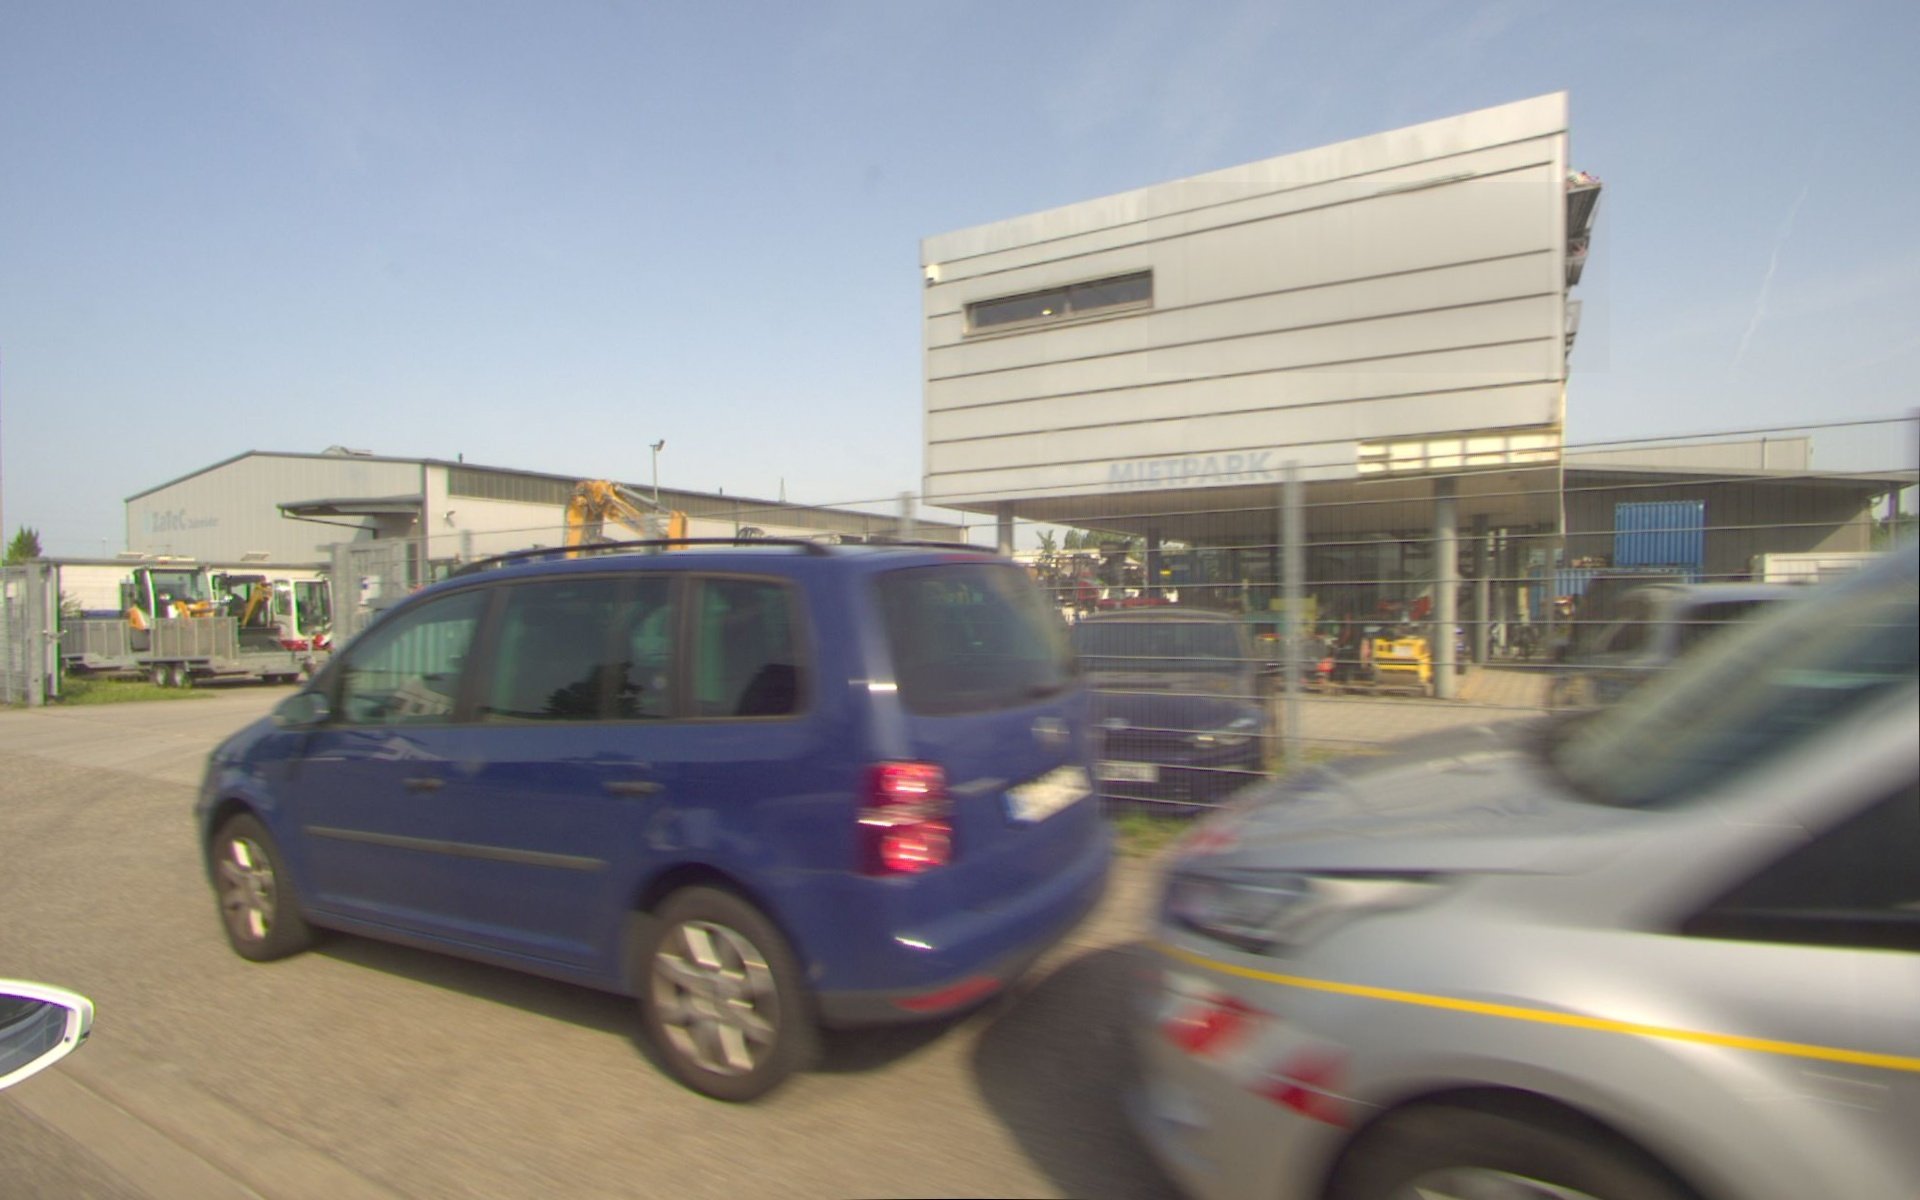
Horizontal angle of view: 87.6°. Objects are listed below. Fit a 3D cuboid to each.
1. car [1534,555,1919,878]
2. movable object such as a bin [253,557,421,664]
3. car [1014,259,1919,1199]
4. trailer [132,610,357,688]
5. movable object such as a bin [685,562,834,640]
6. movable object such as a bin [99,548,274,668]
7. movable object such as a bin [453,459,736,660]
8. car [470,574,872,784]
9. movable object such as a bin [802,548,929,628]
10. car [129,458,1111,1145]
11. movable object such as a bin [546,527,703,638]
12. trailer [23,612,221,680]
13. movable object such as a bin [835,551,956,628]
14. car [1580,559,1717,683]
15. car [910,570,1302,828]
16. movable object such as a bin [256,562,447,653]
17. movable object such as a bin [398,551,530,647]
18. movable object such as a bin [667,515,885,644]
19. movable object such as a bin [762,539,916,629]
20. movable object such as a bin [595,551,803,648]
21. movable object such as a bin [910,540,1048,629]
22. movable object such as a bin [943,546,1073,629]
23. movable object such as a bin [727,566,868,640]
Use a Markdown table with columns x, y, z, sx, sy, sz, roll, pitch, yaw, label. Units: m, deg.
| x | y | z | sx | sy | sz | roll | pitch | yaw | label |
| --- | --- | --- | --- | --- | --- | --- | --- | --- | --- |
| 4.769 | 0.504 | 6.185 | 1.761 | 1.389 | 3.987 | 0 | 0 | 25 | car |
| -15.911 | 0.238 | 25.509 | 4.700 | 2.491 | 1.986 | 0 | 1 | 36 | movable object such as a bin |
| 2.544 | 0.462 | 1.620 | 4.535 | 1.813 | 1.989 | -1 | -1 | 33 | car |
| -13.693 | 0.874 | 19.109 | 4.499 | 1.328 | 1.989 | -1 | -1 | 33 | trailer |
| -7.659 | 0.001 | 38.087 | 5.604 | 2.806 | 2.050 | 1 | 1 | 30 | movable object such as a bin |
| -19.683 | 0.192 | 25.410 | 5.086 | 2.789 | 1.882 | 0 | 1 | 32 | movable object such as a bin |
| -10.159 | -1.016 | 27.645 | 7.557 | 4.871 | 3.311 | 1 | 1 | 30 | movable object such as a bin |
| -2.780 | 0.677 | 10.707 | 1.868 | 1.760 | 4.225 | 0 | 0 | 24 | car |
| -4.803 | -0.569 | 50.620 | 6.047 | 3.832 | 2.448 | 0 | 1 | 28 | movable object such as a bin |
| -1.634 | 0.551 | 4.407 | 4.186 | 1.743 | 1.823 | -1 | 0 | 31 | car |
| -12.718 | -0.612 | 37.907 | 5.636 | 3.925 | 2.678 | 0 | 1 | 32 | movable object such as a bin |
| -17.932 | 0.916 | 21.404 | 4.230 | 1.260 | 1.941 | 0 | 0 | 30 | trailer |
| -3.479 | -0.531 | 53.713 | 6.047 | 3.982 | 2.448 | 0 | 1 | 28 | movable object such as a bin |
| 12.709 | 0.353 | 18.686 | 1.868 | 2.028 | 4.347 | 1 | 0 | 32 | car |
| 1.469 | 0.572 | 8.186 | 1.869 | 1.515 | 4.221 | 1 | 0 | 28 | car |
| -18.440 | 0.211 | 30.314 | 5.262 | 2.525 | 2.916 | 0 | 1 | 32 | movable object such as a bin |
| -16.849 | -0.028 | 33.955 | 4.427 | 3.072 | 1.988 | 0 | 1 | 32 | movable object such as a bin |
| -6.293 | -0.671 | 33.912 | 7.099 | 3.982 | 2.913 | 1 | 1 | 30 | movable object such as a bin |
| -5.777 | -0.706 | 47.462 | 7.090 | 3.982 | 2.463 | 0 | 1 | 28 | movable object such as a bin |
| -8.195 | -0.056 | 31.304 | 6.253 | 2.753 | 2.696 | 1 | 1 | 30 | movable object such as a bin |
| 0.902 | -0.689 | 47.247 | 5.929 | 3.982 | 2.715 | 0 | 1 | 28 | movable object such as a bin |
| 2.411 | -0.580 | 50.314 | 5.929 | 3.982 | 2.715 | 0 | 1 | 28 | movable object such as a bin |
| -6.609 | 0.090 | 40.475 | 5.604 | 2.806 | 2.050 | 1 | 1 | 30 | movable object such as a bin |
